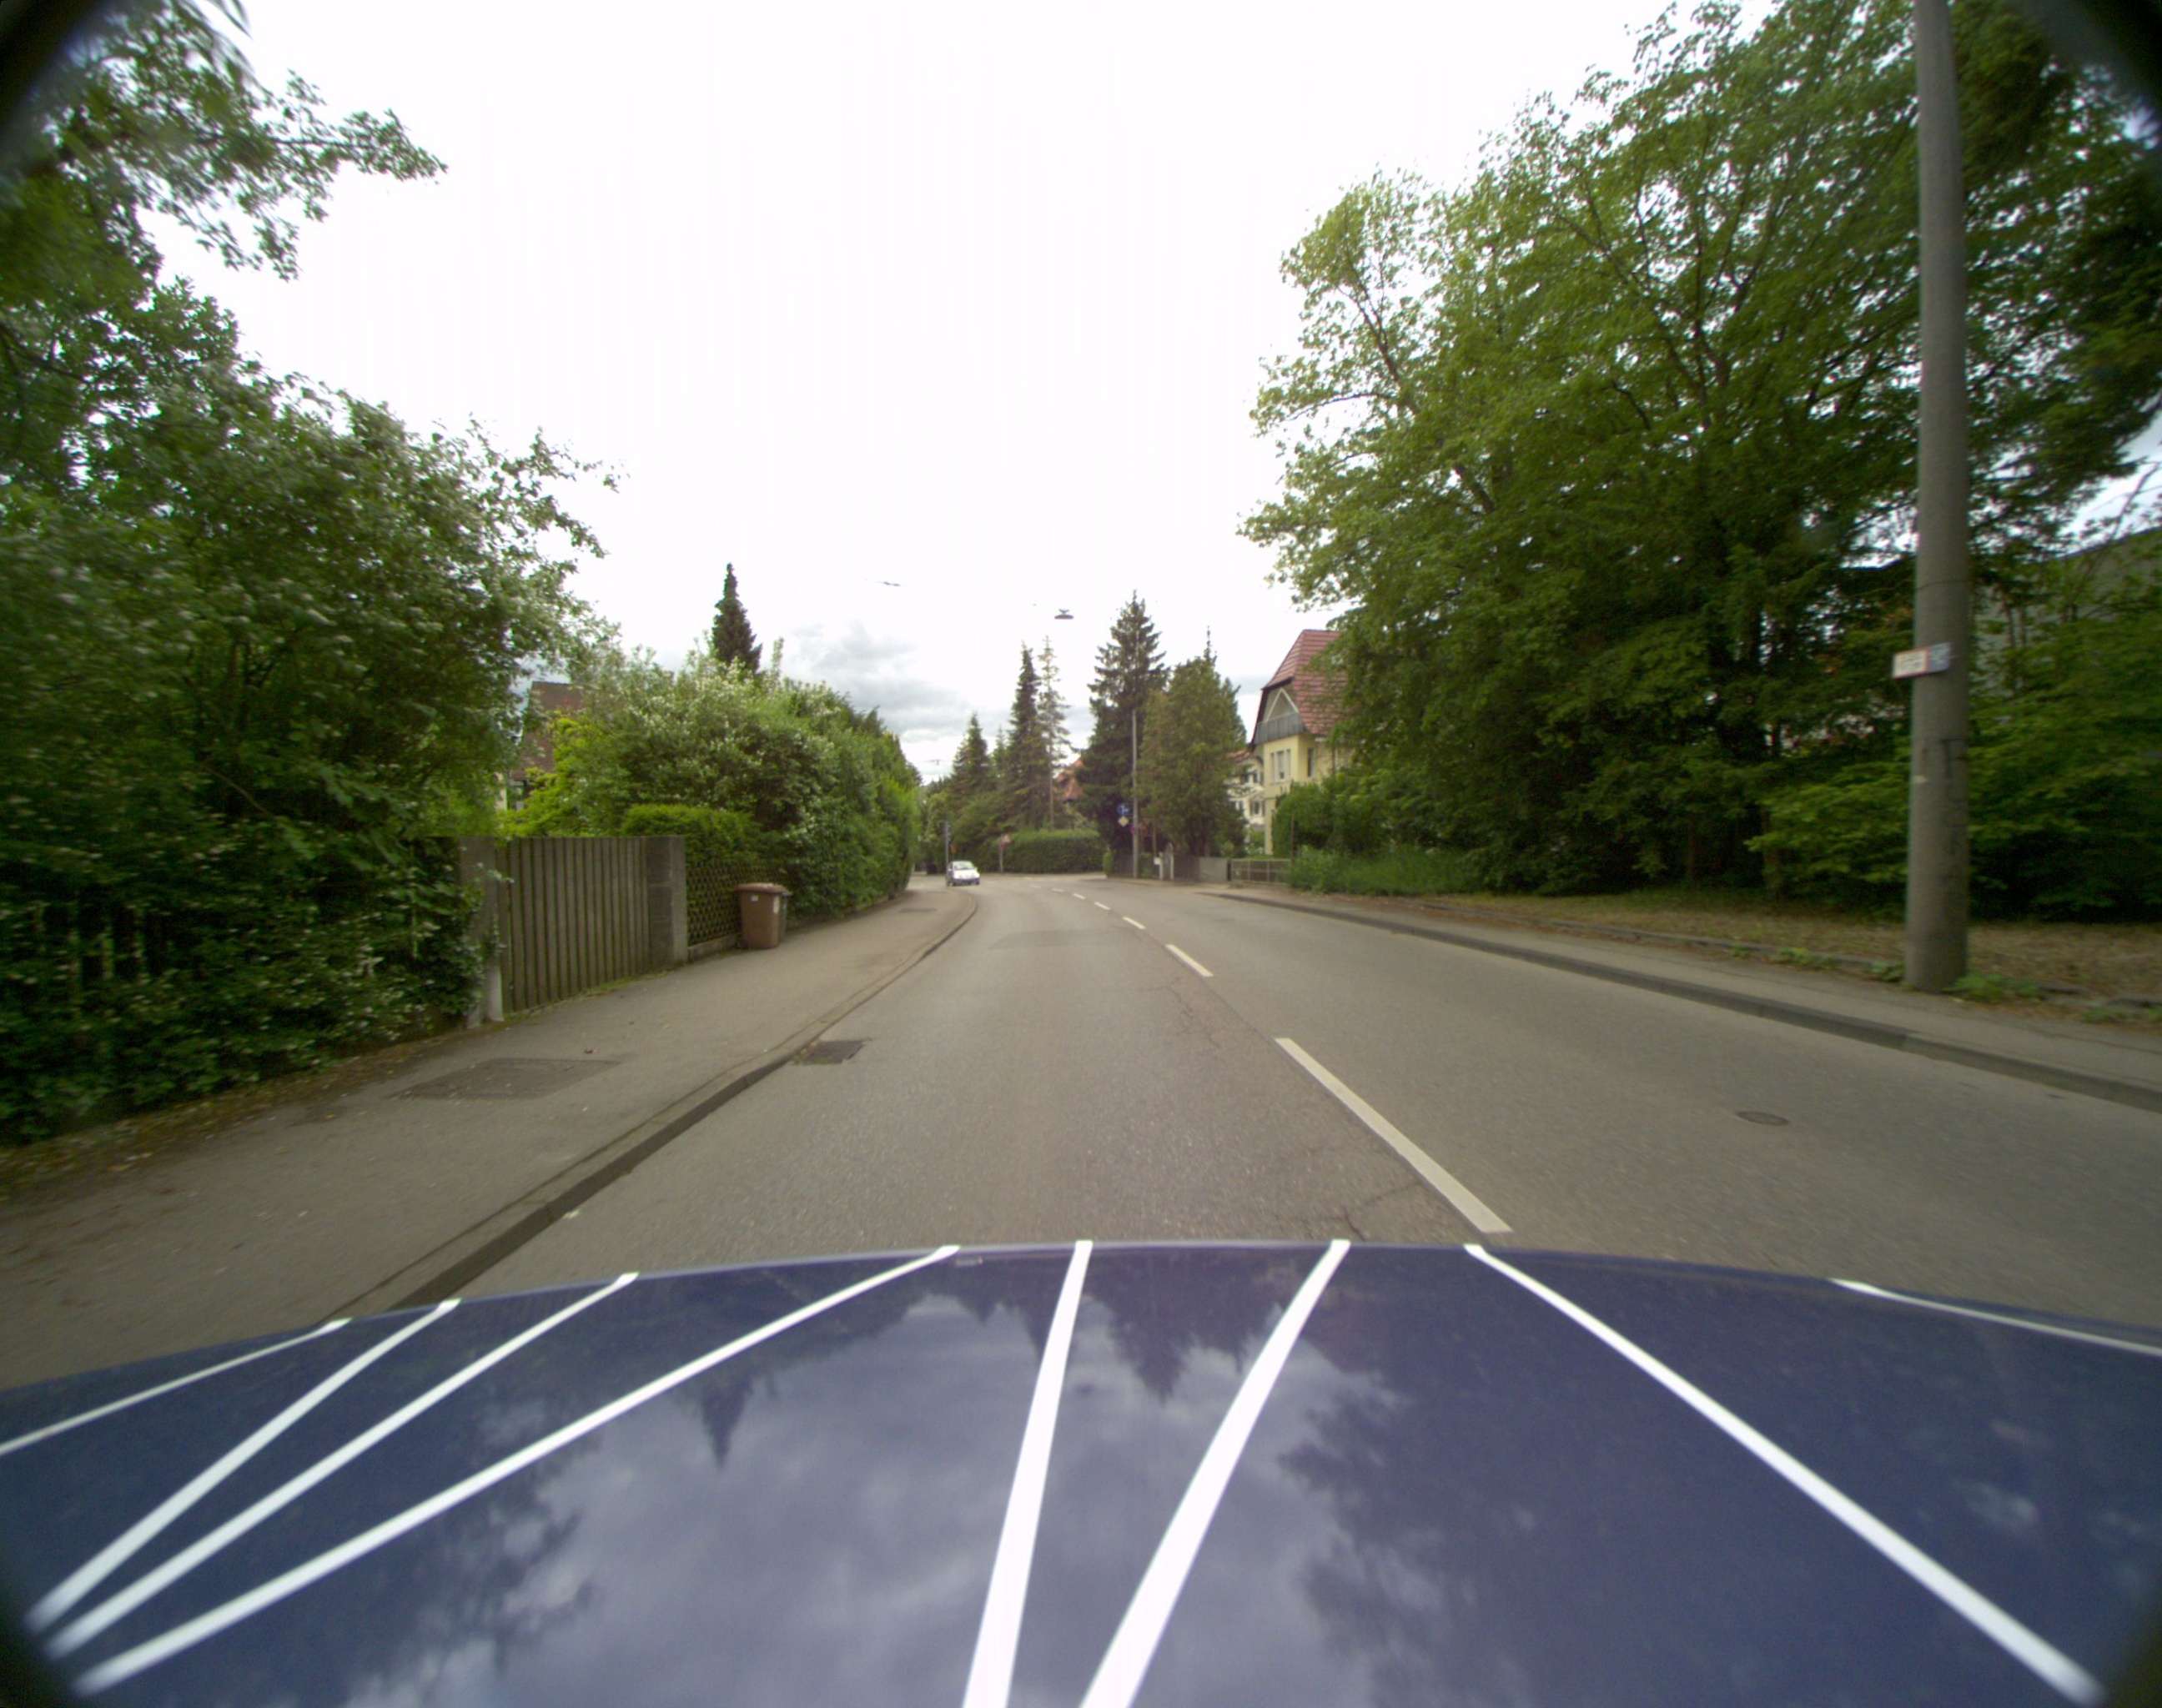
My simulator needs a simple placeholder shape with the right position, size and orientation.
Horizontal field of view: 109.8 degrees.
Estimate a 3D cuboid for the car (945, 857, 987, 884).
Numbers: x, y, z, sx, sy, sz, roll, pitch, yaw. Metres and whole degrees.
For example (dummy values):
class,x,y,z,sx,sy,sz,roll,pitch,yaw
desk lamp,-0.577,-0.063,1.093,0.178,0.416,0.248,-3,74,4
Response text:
class,x,y,z,sx,sy,sz,roll,pitch,yaw
car,-7.566,1.076,49.789,2.001,1.586,3.994,-2,0,-18
